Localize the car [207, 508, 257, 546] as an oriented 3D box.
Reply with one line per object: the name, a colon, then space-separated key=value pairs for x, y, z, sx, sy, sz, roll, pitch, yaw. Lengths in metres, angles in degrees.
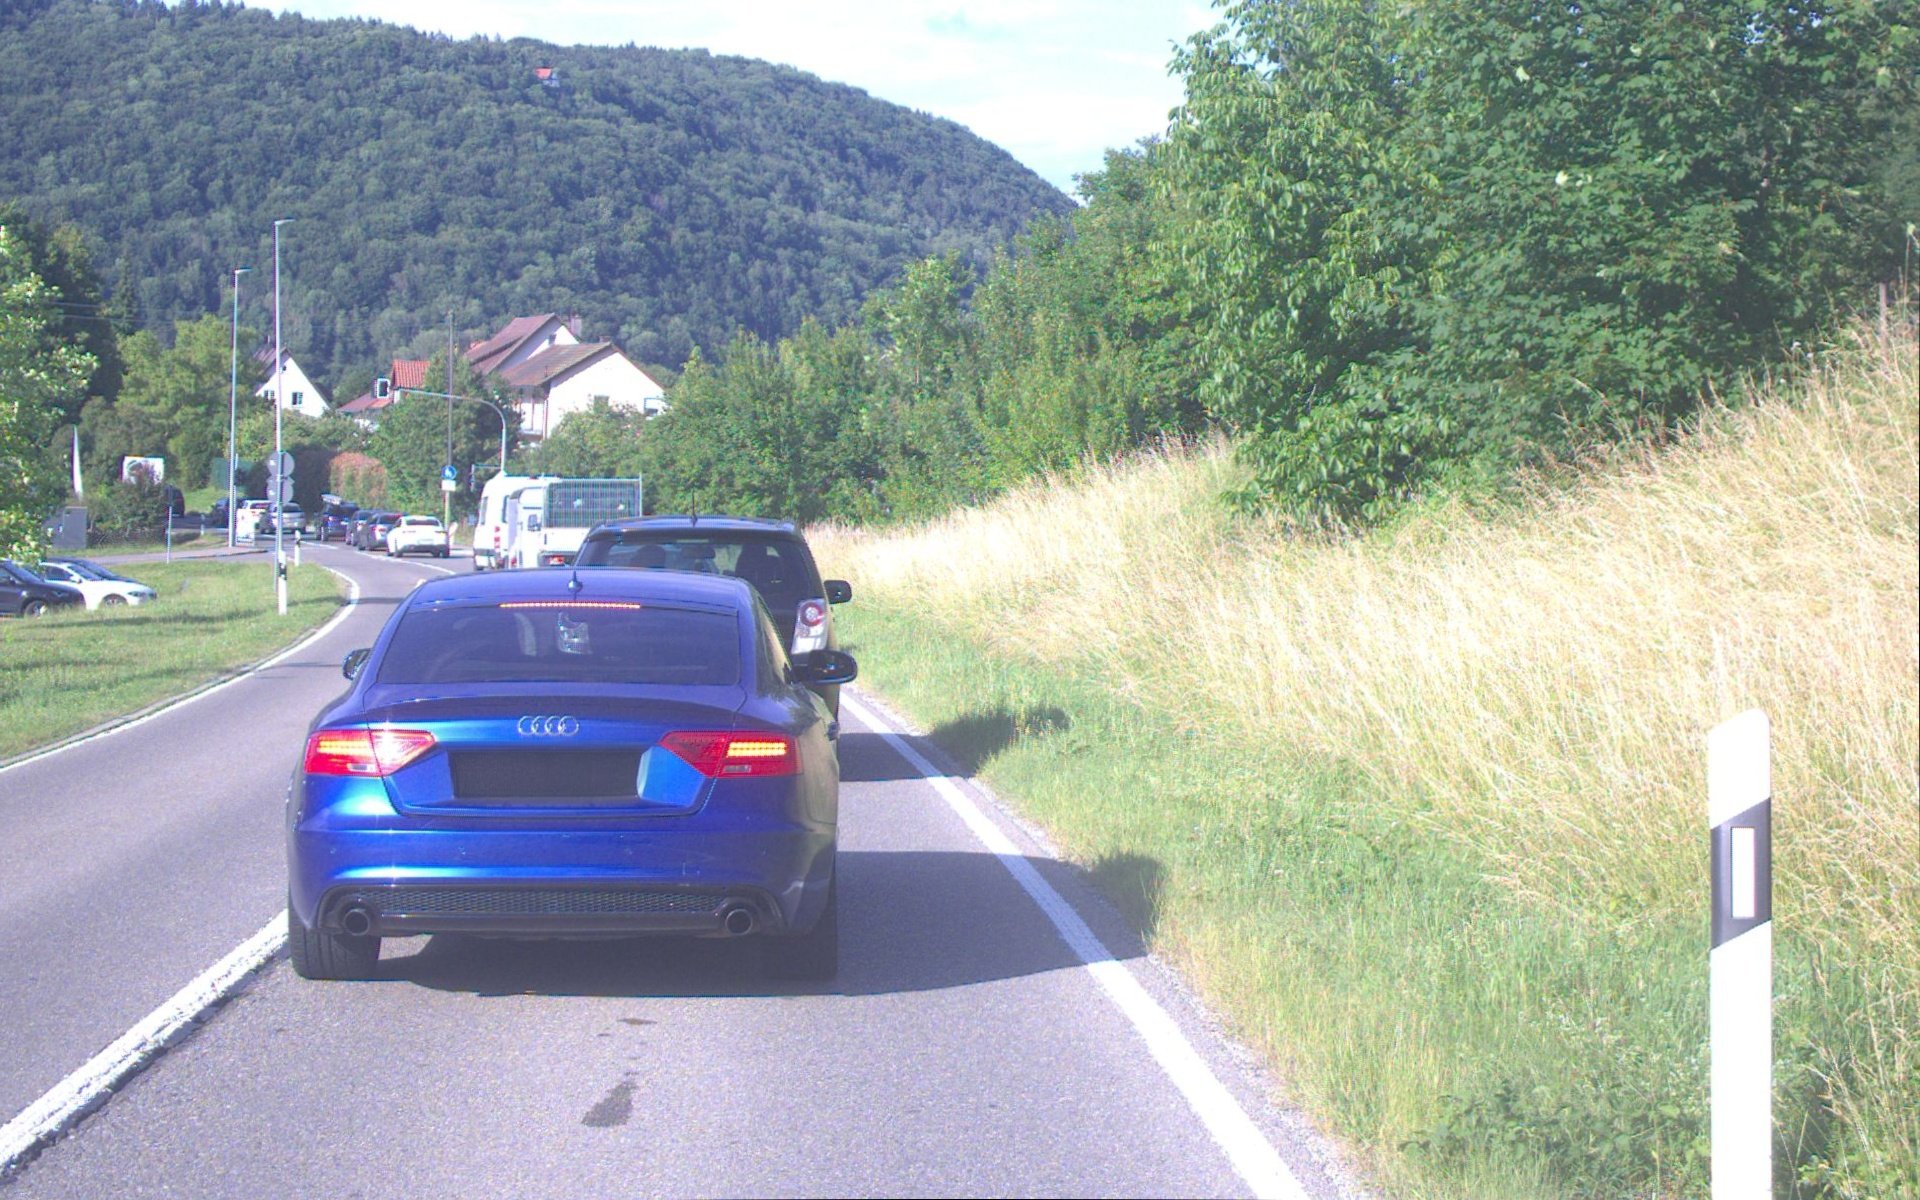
car: x=-37.834 y=-3.765 z=178.596 sx=1.954 sy=1.918 sz=4.001 roll=-1 pitch=1 yaw=-20

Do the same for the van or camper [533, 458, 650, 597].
van or camper: x=-7.054 y=-1.370 z=65.444 sx=2.051 sy=2.497 sz=5.813 roll=-1 pitch=1 yaw=-7

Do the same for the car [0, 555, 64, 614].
car: x=-24.327 y=-0.377 z=85.381 sx=3.713 sy=1.434 sz=1.509 roll=0 pitch=1 yaw=5

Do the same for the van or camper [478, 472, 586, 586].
van or camper: x=-10.584 y=-1.737 z=84.667 sx=2.280 sy=2.704 sz=5.769 roll=-1 pitch=1 yaw=-10

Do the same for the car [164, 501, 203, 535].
car: x=-44.023 y=-4.642 z=194.792 sx=1.676 sy=1.918 sz=4.001 roll=-1 pitch=1 yaw=-20

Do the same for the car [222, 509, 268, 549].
car: x=-35.582 y=-3.520 z=170.992 sx=1.676 sy=1.918 sz=4.001 roll=-1 pitch=1 yaw=-20

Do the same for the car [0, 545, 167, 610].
car: x=-22.899 y=-0.582 z=89.575 sx=4.036 sy=1.655 sz=1.655 roll=0 pitch=1 yaw=5

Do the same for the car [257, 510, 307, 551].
car: x=-32.029 y=-3.281 z=162.319 sx=1.676 sy=1.918 sz=4.001 roll=-1 pitch=1 yaw=-21

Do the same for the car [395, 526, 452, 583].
car: x=-18.506 y=-1.561 z=118.396 sx=1.659 sy=1.918 sz=4.001 roll=-1 pitch=1 yaw=-13

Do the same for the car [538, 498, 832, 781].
car: x=-1.820 y=0.199 z=21.880 sx=1.645 sy=1.619 sz=3.518 roll=1 pitch=1 yaw=-7

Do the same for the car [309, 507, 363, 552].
car: x=-26.878 y=-3.016 z=148.022 sx=1.676 sy=1.918 sz=4.001 roll=-1 pitch=1 yaw=-19

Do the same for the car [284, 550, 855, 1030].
car: x=-1.338 y=0.556 z=12.332 sx=1.742 sy=1.445 sz=3.517 roll=0 pitch=1 yaw=-5

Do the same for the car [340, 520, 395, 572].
car: x=-22.196 y=-2.020 z=128.688 sx=1.659 sy=1.918 sz=4.001 roll=-1 pitch=1 yaw=-14
